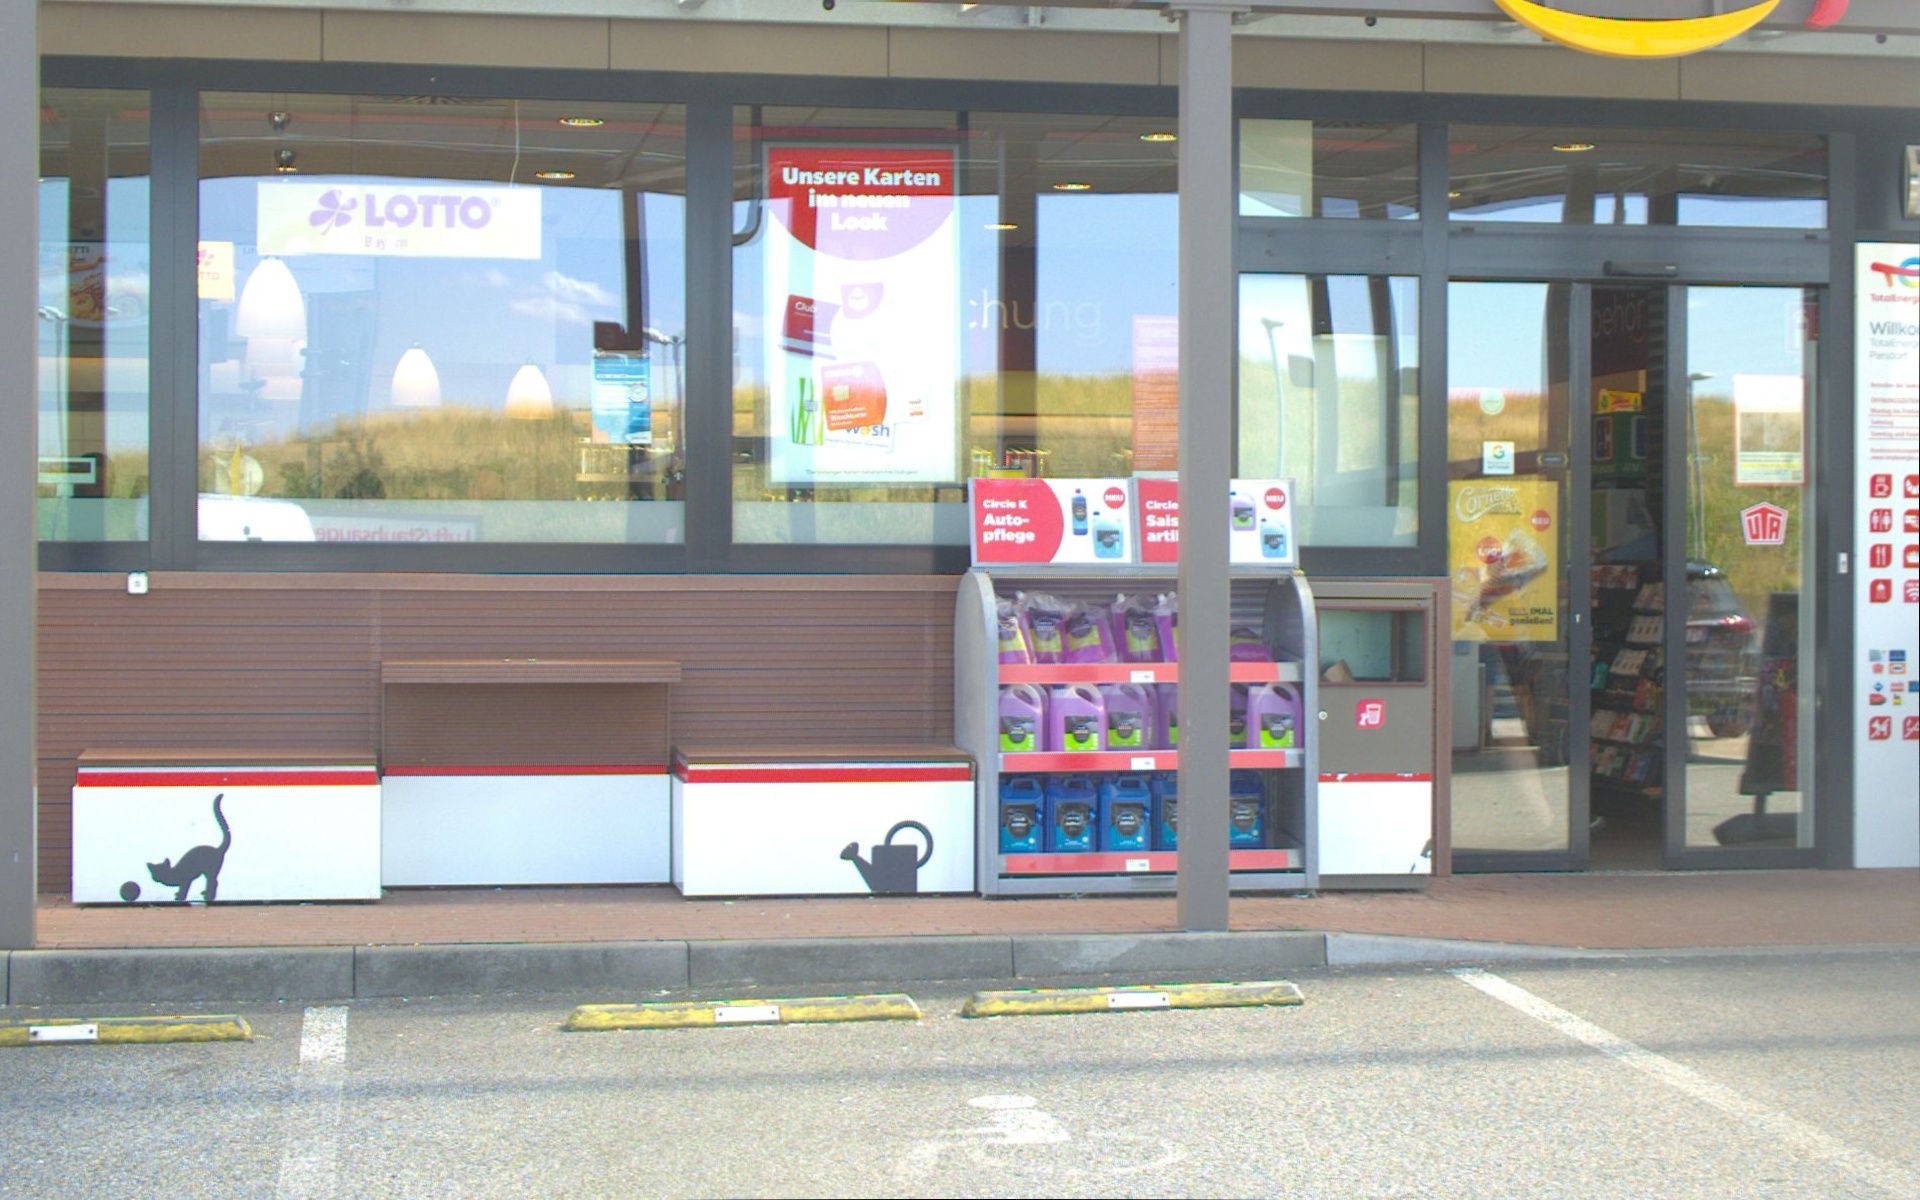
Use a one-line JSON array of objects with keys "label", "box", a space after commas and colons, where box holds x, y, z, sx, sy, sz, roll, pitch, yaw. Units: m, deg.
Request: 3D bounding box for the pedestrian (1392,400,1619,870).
[{"label": "pedestrian", "box": [2.136, 0.125, 13.550, 0.701, 1.791, 0.862, 0, 1, -4]}]
